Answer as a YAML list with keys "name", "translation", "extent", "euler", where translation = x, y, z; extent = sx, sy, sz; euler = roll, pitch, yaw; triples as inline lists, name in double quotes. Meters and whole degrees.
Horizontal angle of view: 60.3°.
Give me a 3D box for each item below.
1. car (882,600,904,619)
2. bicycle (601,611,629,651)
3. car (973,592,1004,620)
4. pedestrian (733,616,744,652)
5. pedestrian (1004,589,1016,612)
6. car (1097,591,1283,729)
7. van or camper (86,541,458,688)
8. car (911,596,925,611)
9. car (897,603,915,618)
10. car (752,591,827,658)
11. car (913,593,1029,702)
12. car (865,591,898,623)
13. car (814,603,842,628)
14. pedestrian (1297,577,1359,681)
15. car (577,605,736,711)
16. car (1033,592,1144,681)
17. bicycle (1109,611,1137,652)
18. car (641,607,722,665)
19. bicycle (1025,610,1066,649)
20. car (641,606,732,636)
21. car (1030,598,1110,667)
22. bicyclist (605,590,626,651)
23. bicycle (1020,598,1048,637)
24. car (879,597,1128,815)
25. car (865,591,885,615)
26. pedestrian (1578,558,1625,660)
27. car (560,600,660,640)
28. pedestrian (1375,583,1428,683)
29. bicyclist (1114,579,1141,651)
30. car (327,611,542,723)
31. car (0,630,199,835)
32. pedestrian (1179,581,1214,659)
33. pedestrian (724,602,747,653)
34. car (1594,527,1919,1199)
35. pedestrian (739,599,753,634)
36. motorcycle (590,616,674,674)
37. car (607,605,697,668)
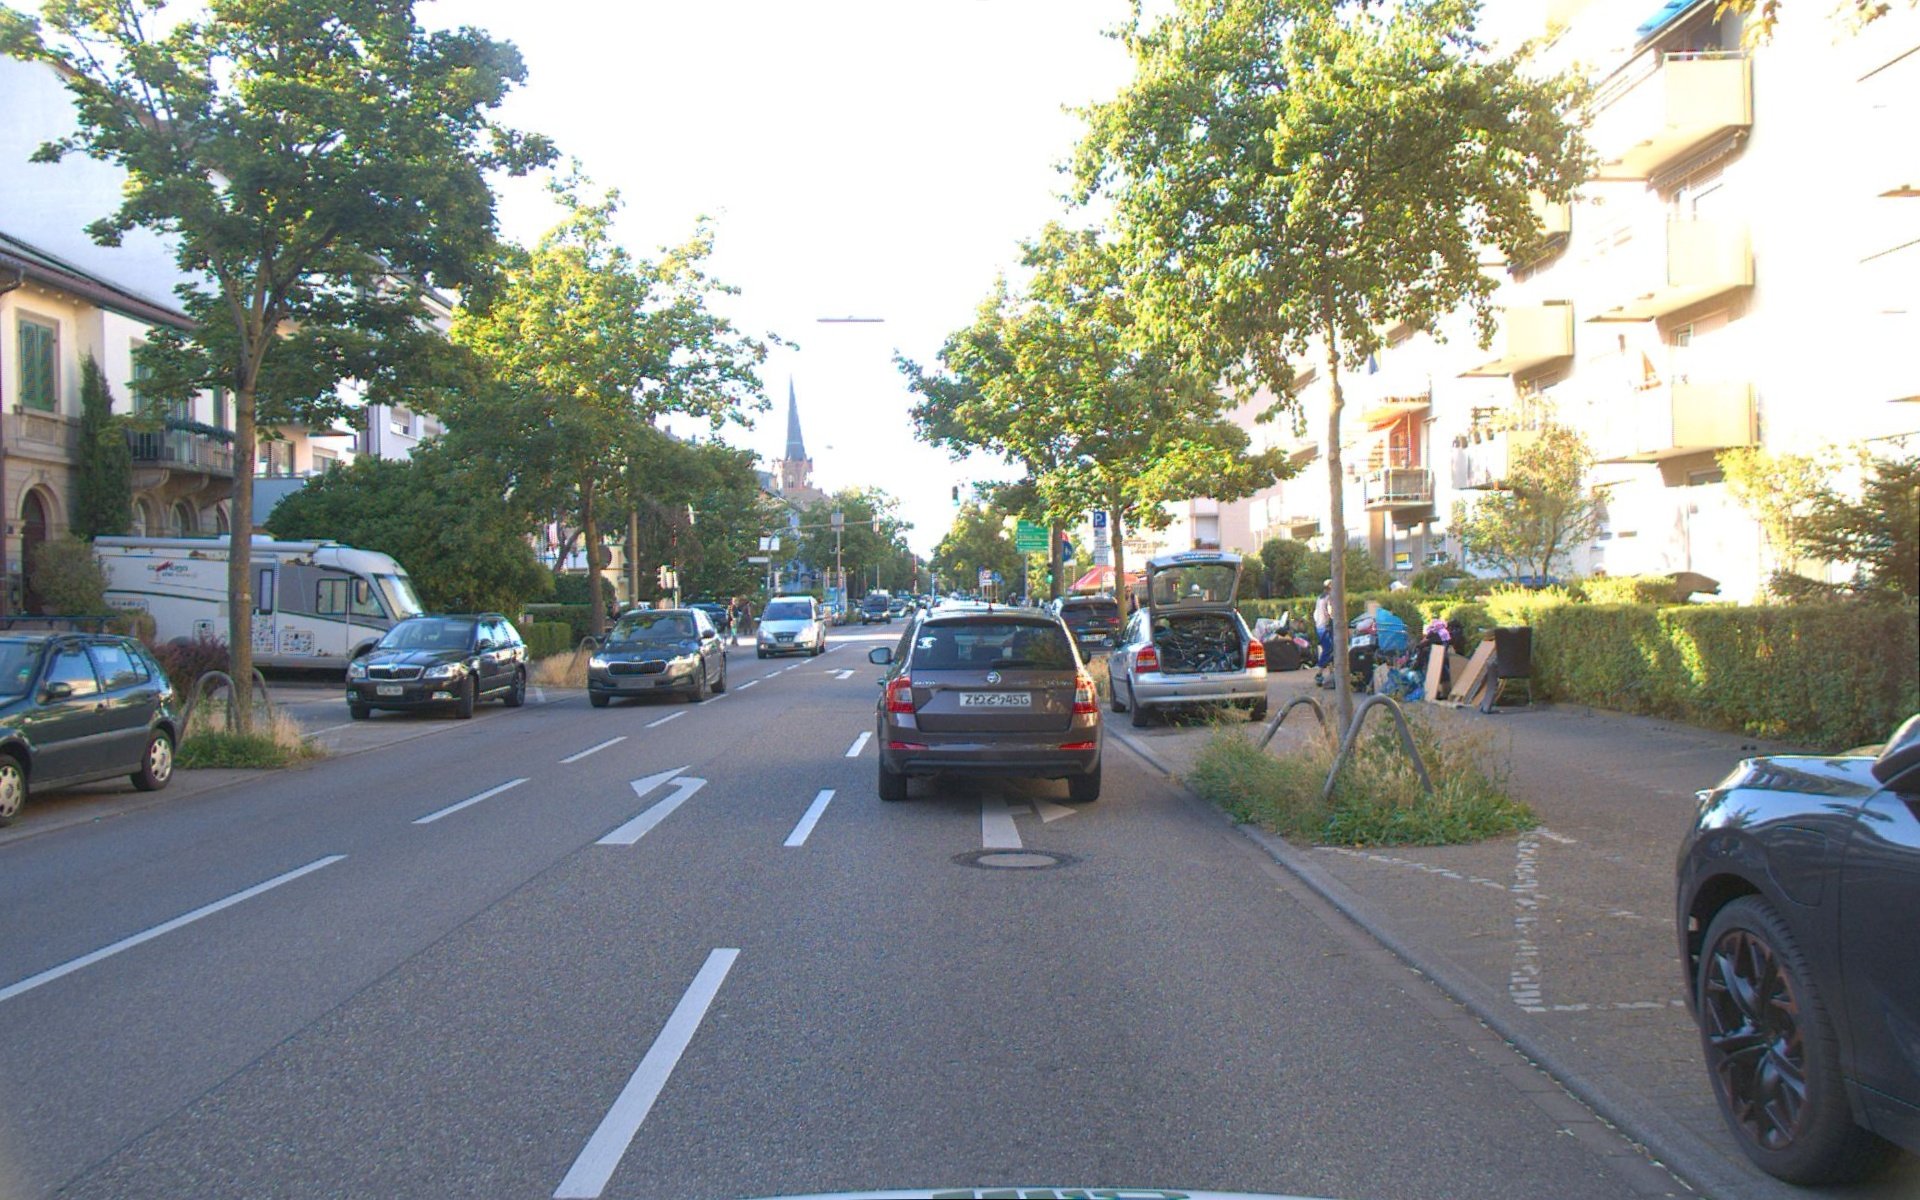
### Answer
- name: "car"
  translation: [-5.954, 0.843, 146.841]
  extent: [1.793, 1.607, 3.999]
  euler: [-2, 0, 0]
- name: "bicycle"
  translation: [-9.643, 0.848, 46.302]
  extent: [0.476, 1.083, 1.534]
  euler: [-1, 0, -1]
- name: "car"
  translation: [1.897, 0.403, 108.756]
  extent: [1.952, 1.803, 4.001]
  euler: [1, 0, 2]
- name: "pedestrian"
  translation: [-11.477, 1.779, 85.817]
  extent: [0.440, 1.828, 0.504]
  euler: [-2, 0, 0]
- name: "pedestrian"
  translation: [3.972, 0.030, 130.576]
  extent: [0.661, 1.734, 0.800]
  euler: [-1, 0, 26]
- name: "car"
  translation: [2.848, 0.695, 21.364]
  extent: [1.673, 1.506, 4.267]
  euler: [-3, 0, -1]
- name: "van or camper"
  translation: [-14.117, 0.292, 34.293]
  extent: [6.660, 2.821, 2.351]
  euler: [1, 0, -2]
- name: "car"
  translation: [-6.141, 0.515, 244.451]
  extent: [1.953, 2.049, 4.000]
  euler: [-1, 0, 0]
- name: "car"
  translation: [-5.659, 1.075, 174.819]
  extent: [1.751, 1.598, 4.000]
  euler: [1, 0, 0]
- name: "car"
  translation: [-5.068, 0.713, 49.741]
  extent: [1.769, 1.836, 4.744]
  euler: [-3, 0, -1]
- name: "car"
  translation: [0.175, 0.715, 26.617]
  extent: [1.701, 1.598, 4.000]
  euler: [1, 0, 0]
- name: "car"
  translation: [-5.163, 0.452, 109.546]
  extent: [1.953, 1.942, 4.963]
  euler: [-3, 0, -1]
- name: "car"
  translation: [-8.302, 0.973, 104.358]
  extent: [1.491, 1.482, 3.584]
  euler: [-1, 0, -1]
- name: "pedestrian"
  translation: [6.051, 0.471, 27.181]
  extent: [0.742, 1.668, 0.693]
  euler: [-2, 0, 36]
- name: "car"
  translation: [-4.851, 0.874, 27.041]
  extent: [1.725, 1.477, 4.533]
  euler: [-3, 0, -1]
- name: "car"
  translation: [2.561, 0.700, 33.768]
  extent: [1.818, 1.609, 4.012]
  euler: [-3, 0, -1]
- name: "bicycle"
  translation: [4.166, 0.802, 42.421]
  extent: [0.505, 1.004, 1.831]
  euler: [-1, 0, 0]
- name: "car"
  translation: [-7.802, 0.971, 46.616]
  extent: [1.615, 1.544, 4.073]
  euler: [0, 0, 0]
- name: "bicycle"
  translation: [2.447, 0.833, 47.328]
  extent: [0.606, 1.070, 1.572]
  euler: [-1, 0, 25]
- name: "car"
  translation: [-14.580, 1.105, 88.237]
  extent: [4.540, 1.562, 1.861]
  euler: [0, 0, -1]
- name: "car"
  translation: [2.574, 0.731, 39.363]
  extent: [1.668, 1.475, 4.014]
  euler: [-3, 0, 2]
- name: "bicyclist"
  translation: [-9.653, 0.570, 46.323]
  extent: [0.459, 1.692, 0.552]
  euler: [-1, 0, -1]
- name: "bicycle"
  translation: [2.289, 0.538, 51.162]
  extent: [0.492, 1.167, 1.956]
  euler: [-4, 0, -6]
- name: "car"
  translation: [0.267, 0.736, 13.663]
  extent: [1.737, 1.515, 4.310]
  euler: [0, 0, -1]
- name: "car"
  translation: [-9.270, 0.329, 181.201]
  extent: [1.953, 2.521, 3.999]
  euler: [-1, 0, -1]
- name: "pedestrian"
  translation: [10.651, 0.152, 27.462]
  extent: [0.467, 1.668, 0.533]
  euler: [-1, 0, -20]
- name: "car"
  translation: [-17.367, 0.978, 82.294]
  extent: [4.540, 1.843, 1.861]
  euler: [-1, 0, -1]
- name: "pedestrian"
  translation: [7.093, 0.525, 26.590]
  extent: [0.582, 1.567, 0.693]
  euler: [-2, 0, 36]
- name: "bicyclist"
  translation: [4.288, 0.380, 42.425]
  extent: [0.569, 1.820, 0.852]
  euler: [-1, 0, -1]
- name: "car"
  translation: [-7.848, 0.940, 25.161]
  extent: [1.829, 1.521, 4.517]
  euler: [0, 0, 0]
- name: "car"
  translation: [-7.696, 1.001, 13.267]
  extent: [1.511, 1.421, 3.665]
  euler: [-1, 0, -1]
- name: "pedestrian"
  translation: [5.571, 0.474, 38.994]
  extent: [0.649, 1.779, 0.772]
  euler: [-3, 0, 2]
- name: "pedestrian"
  translation: [-9.167, 1.110, 67.555]
  extent: [0.764, 2.022, 0.821]
  euler: [-2, 0, 0]
- name: "car"
  translation: [2.916, 0.604, 2.884]
  extent: [1.818, 1.631, 4.310]
  euler: [-4, 0, -1]
- name: "pedestrian"
  translation: [-11.024, 0.847, 85.287]
  extent: [0.603, 1.828, 0.504]
  euler: [-2, 0, 0]
- name: "motorcycle"
  translation: [-7.603, 1.039, 38.280]
  extent: [2.015, 1.287, 0.764]
  euler: [-2, 0, 38]
- name: "car"
  translation: [-7.760, 0.896, 41.988]
  extent: [1.561, 1.496, 3.803]
  euler: [1, 0, 0]
